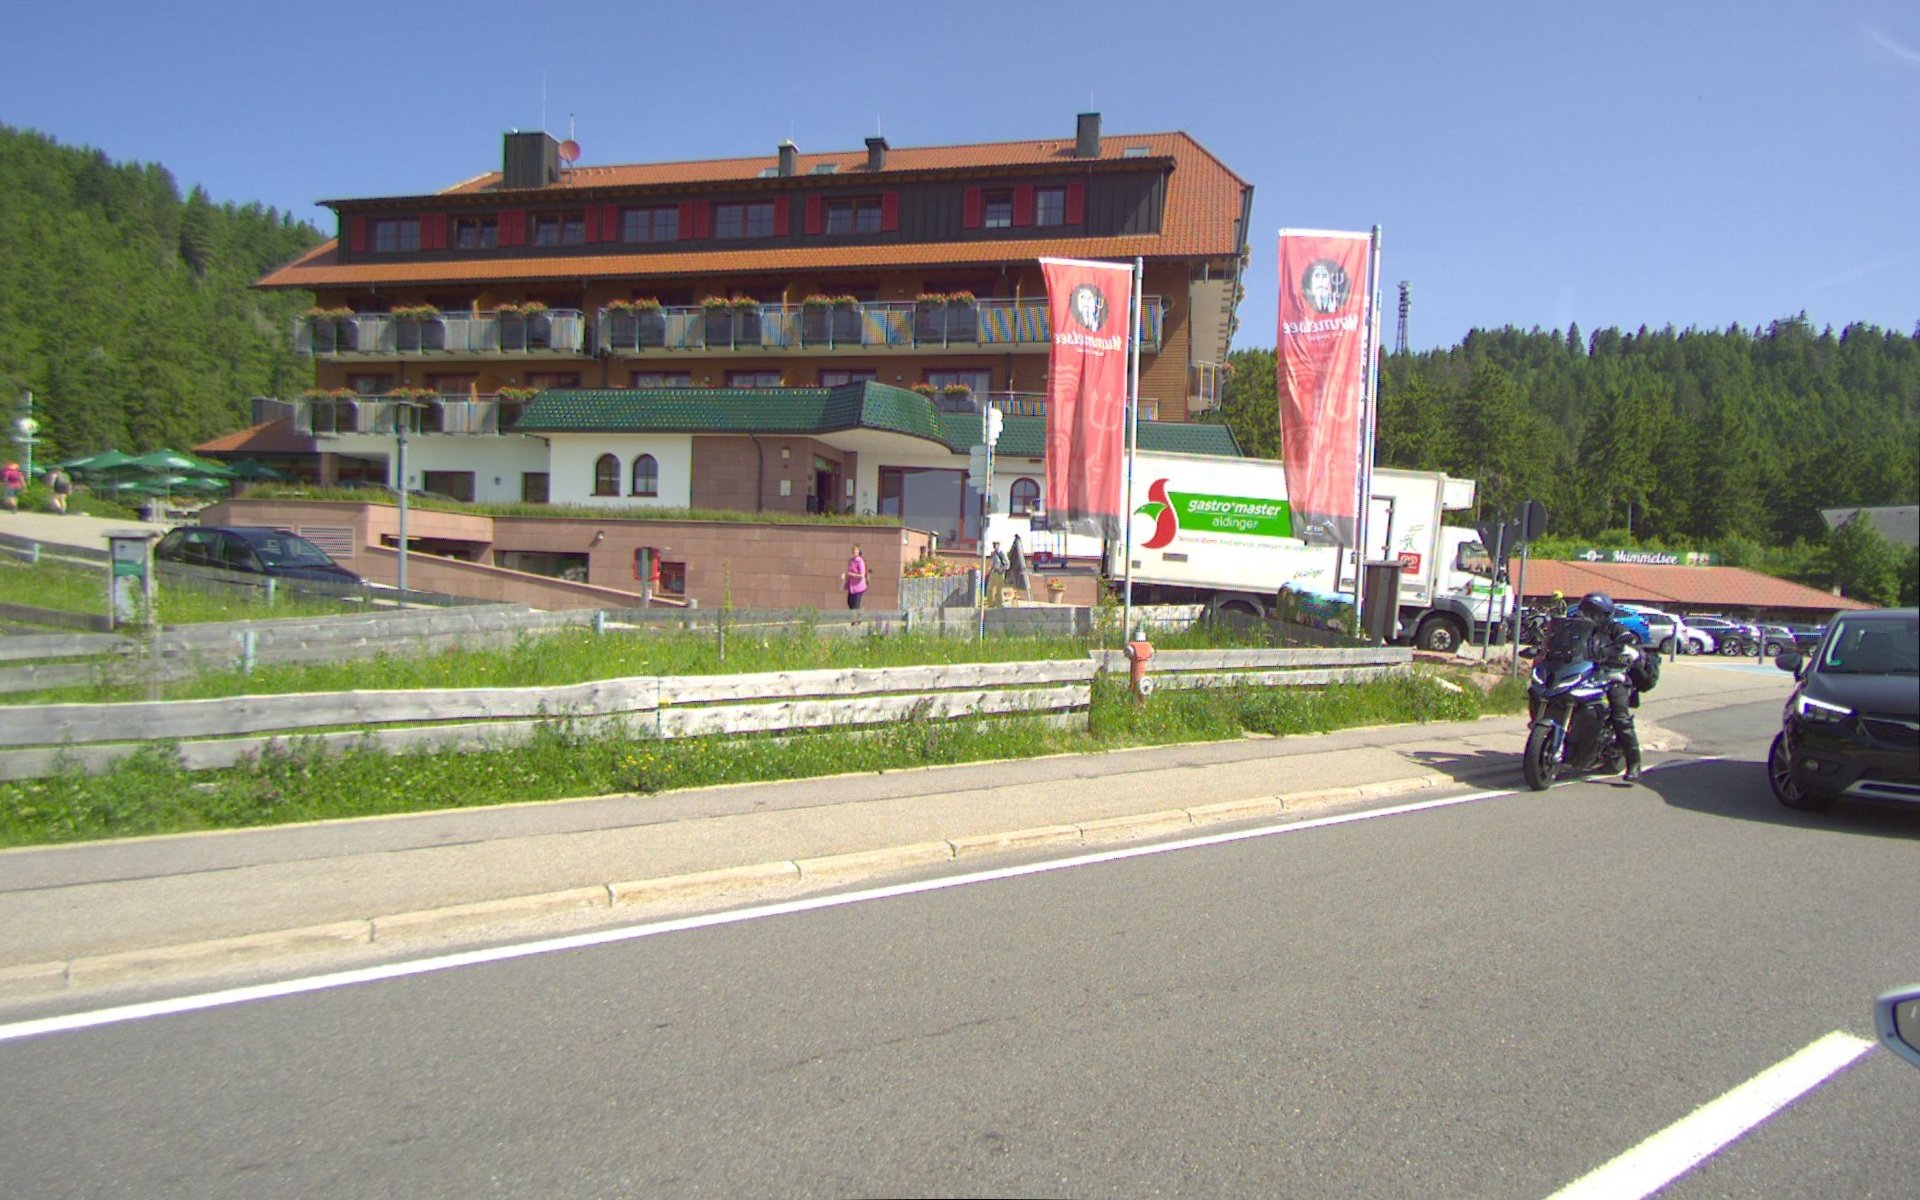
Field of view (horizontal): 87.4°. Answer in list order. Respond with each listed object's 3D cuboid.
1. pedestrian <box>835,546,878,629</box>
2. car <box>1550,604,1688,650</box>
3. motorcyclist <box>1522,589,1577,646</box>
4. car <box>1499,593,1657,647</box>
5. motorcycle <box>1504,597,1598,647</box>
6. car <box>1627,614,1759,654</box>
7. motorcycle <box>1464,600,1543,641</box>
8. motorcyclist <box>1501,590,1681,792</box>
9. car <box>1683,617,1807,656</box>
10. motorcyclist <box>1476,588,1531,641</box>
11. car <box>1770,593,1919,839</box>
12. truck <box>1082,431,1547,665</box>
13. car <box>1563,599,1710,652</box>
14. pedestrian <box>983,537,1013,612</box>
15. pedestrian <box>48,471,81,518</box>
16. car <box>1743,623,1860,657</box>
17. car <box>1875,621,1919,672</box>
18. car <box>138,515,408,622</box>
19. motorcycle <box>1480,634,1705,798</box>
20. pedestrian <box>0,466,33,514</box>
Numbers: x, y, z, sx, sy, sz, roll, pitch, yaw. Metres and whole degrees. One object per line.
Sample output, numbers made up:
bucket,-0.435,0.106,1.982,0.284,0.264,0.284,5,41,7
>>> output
pedestrian,-2.221,-0.271,21.633,0.782,1.739,0.699,2,1,3
car,25.111,0.991,38.437,3.919,1.566,2.001,2,1,13
motorcyclist,19.134,0.544,32.636,1.223,1.743,1.064,4,2,19
car,22.521,0.699,36.790,4.453,1.686,1.941,3,1,11
motorcycle,19.153,0.692,32.617,2.396,1.425,1.006,4,2,19
car,30.330,1.382,41.669,3.919,1.449,1.915,2,1,11
motorcycle,19.035,0.708,35.221,2.231,1.273,0.879,3,3,16
motorcyclist,5.657,0.760,9.008,1.285,1.663,0.874,1,0,-33
car,35.430,1.634,45.436,3.997,1.506,1.717,2,1,12
motorcyclist,19.030,0.488,35.214,1.423,1.741,0.926,3,3,16
car,7.904,0.814,8.191,1.956,1.638,4.131,1,0,39
truck,7.122,-1.144,21.499,8.596,4.025,3.070,4,4,4
car,26.900,0.981,40.105,4.438,1.888,1.836,2,1,14
pedestrian,0.892,-0.596,23.458,0.640,1.712,0.575,2,1,3
pedestrian,-31.351,-3.707,35.155,0.619,1.563,0.574,7,8,15
car,40.799,1.909,48.802,3.921,1.389,1.812,2,1,19
car,30.929,1.501,31.320,1.771,1.561,4.194,2,1,15
car,-12.258,-0.563,17.979,3.921,1.371,1.880,8,2,17
motorcycle,5.736,0.968,9.058,2.302,1.282,0.806,1,0,-33
pedestrian,-32.140,-3.731,34.170,0.619,1.563,0.574,7,8,15
